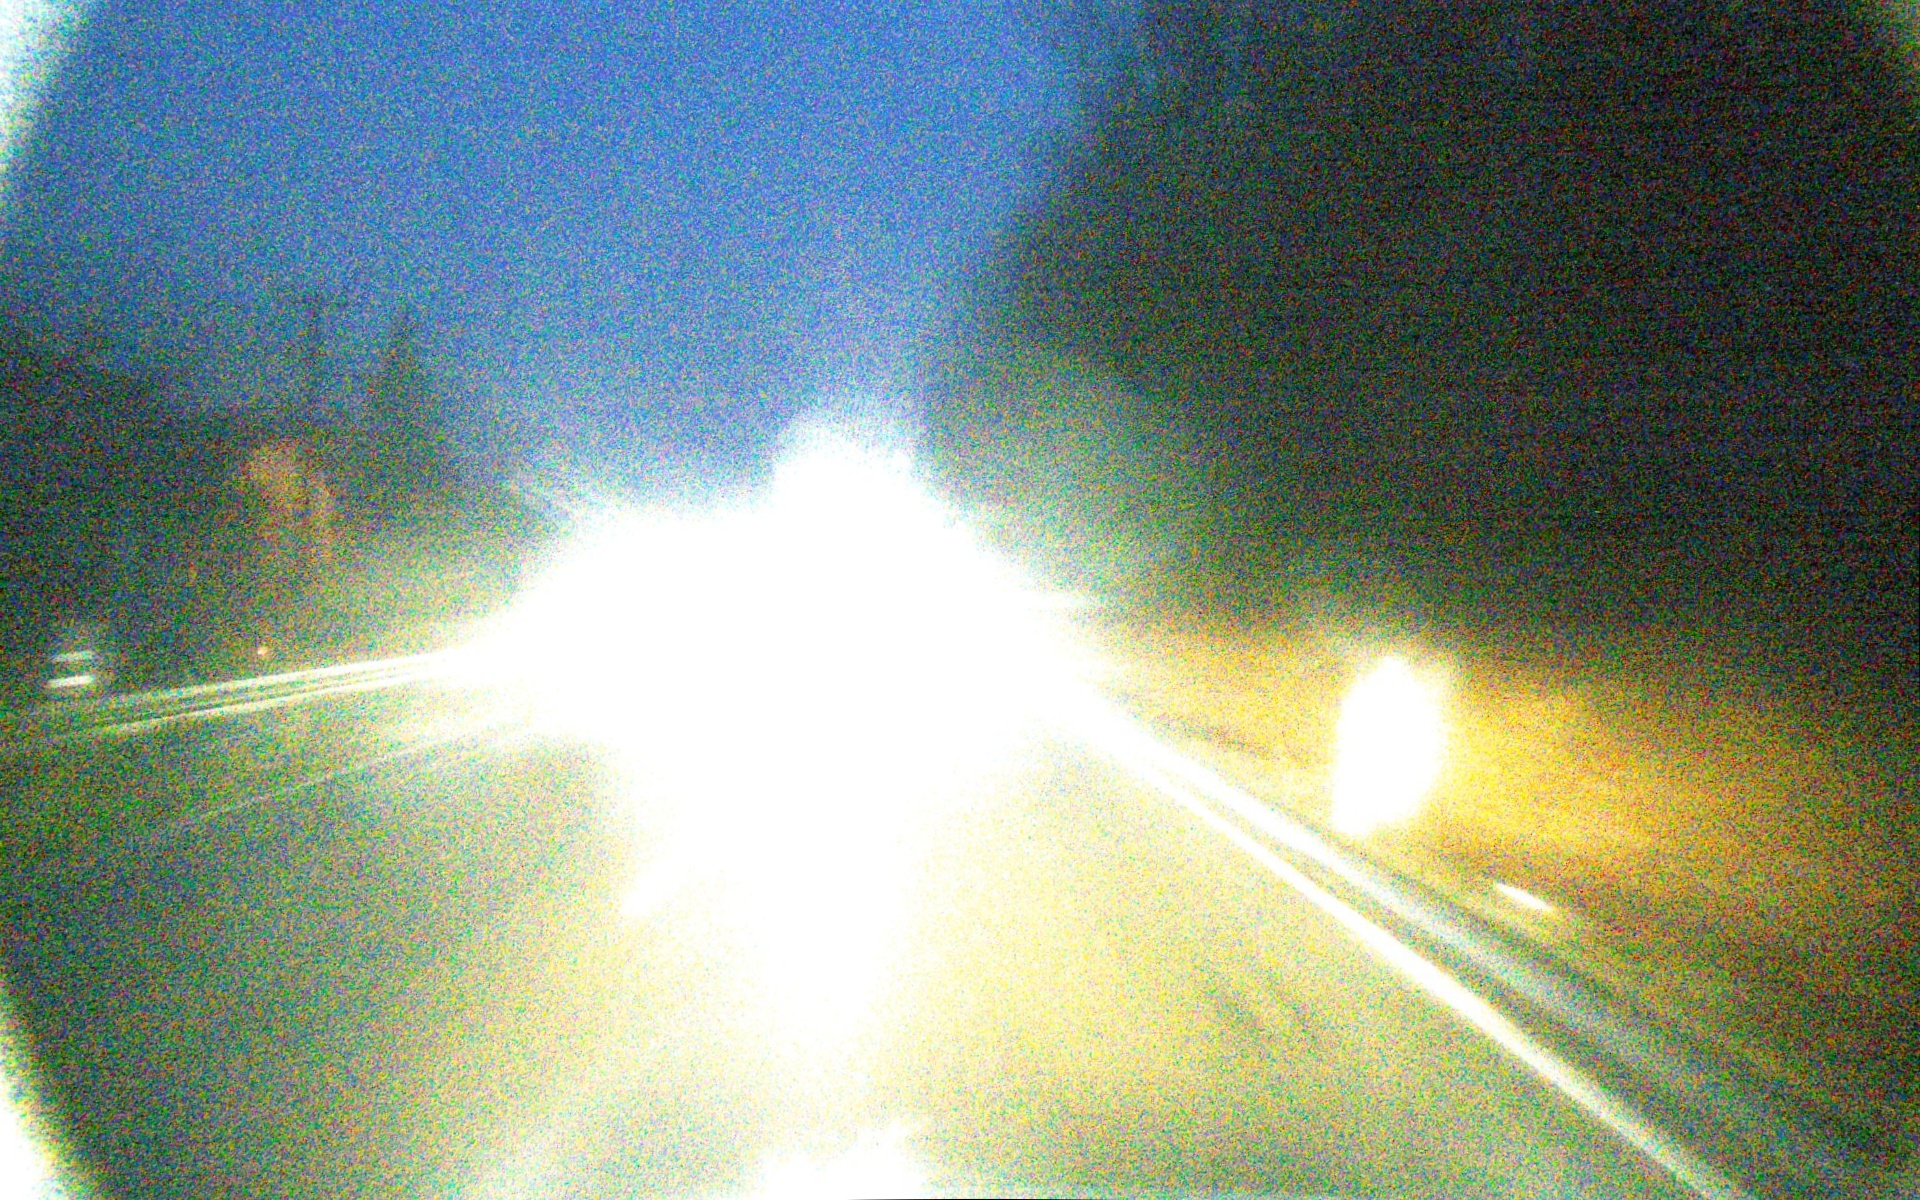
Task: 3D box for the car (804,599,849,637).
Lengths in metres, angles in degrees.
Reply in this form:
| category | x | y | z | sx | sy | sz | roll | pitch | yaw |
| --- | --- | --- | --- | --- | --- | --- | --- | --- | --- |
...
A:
| category | x | y | z | sx | sy | sz | roll | pitch | yaw |
| --- | --- | --- | --- | --- | --- | --- | --- | --- | --- |
| car | -5.901 | 0.796 | 73.352 | 1.793 | 1.595 | 3.778 | 1 | 0 | -3 |
